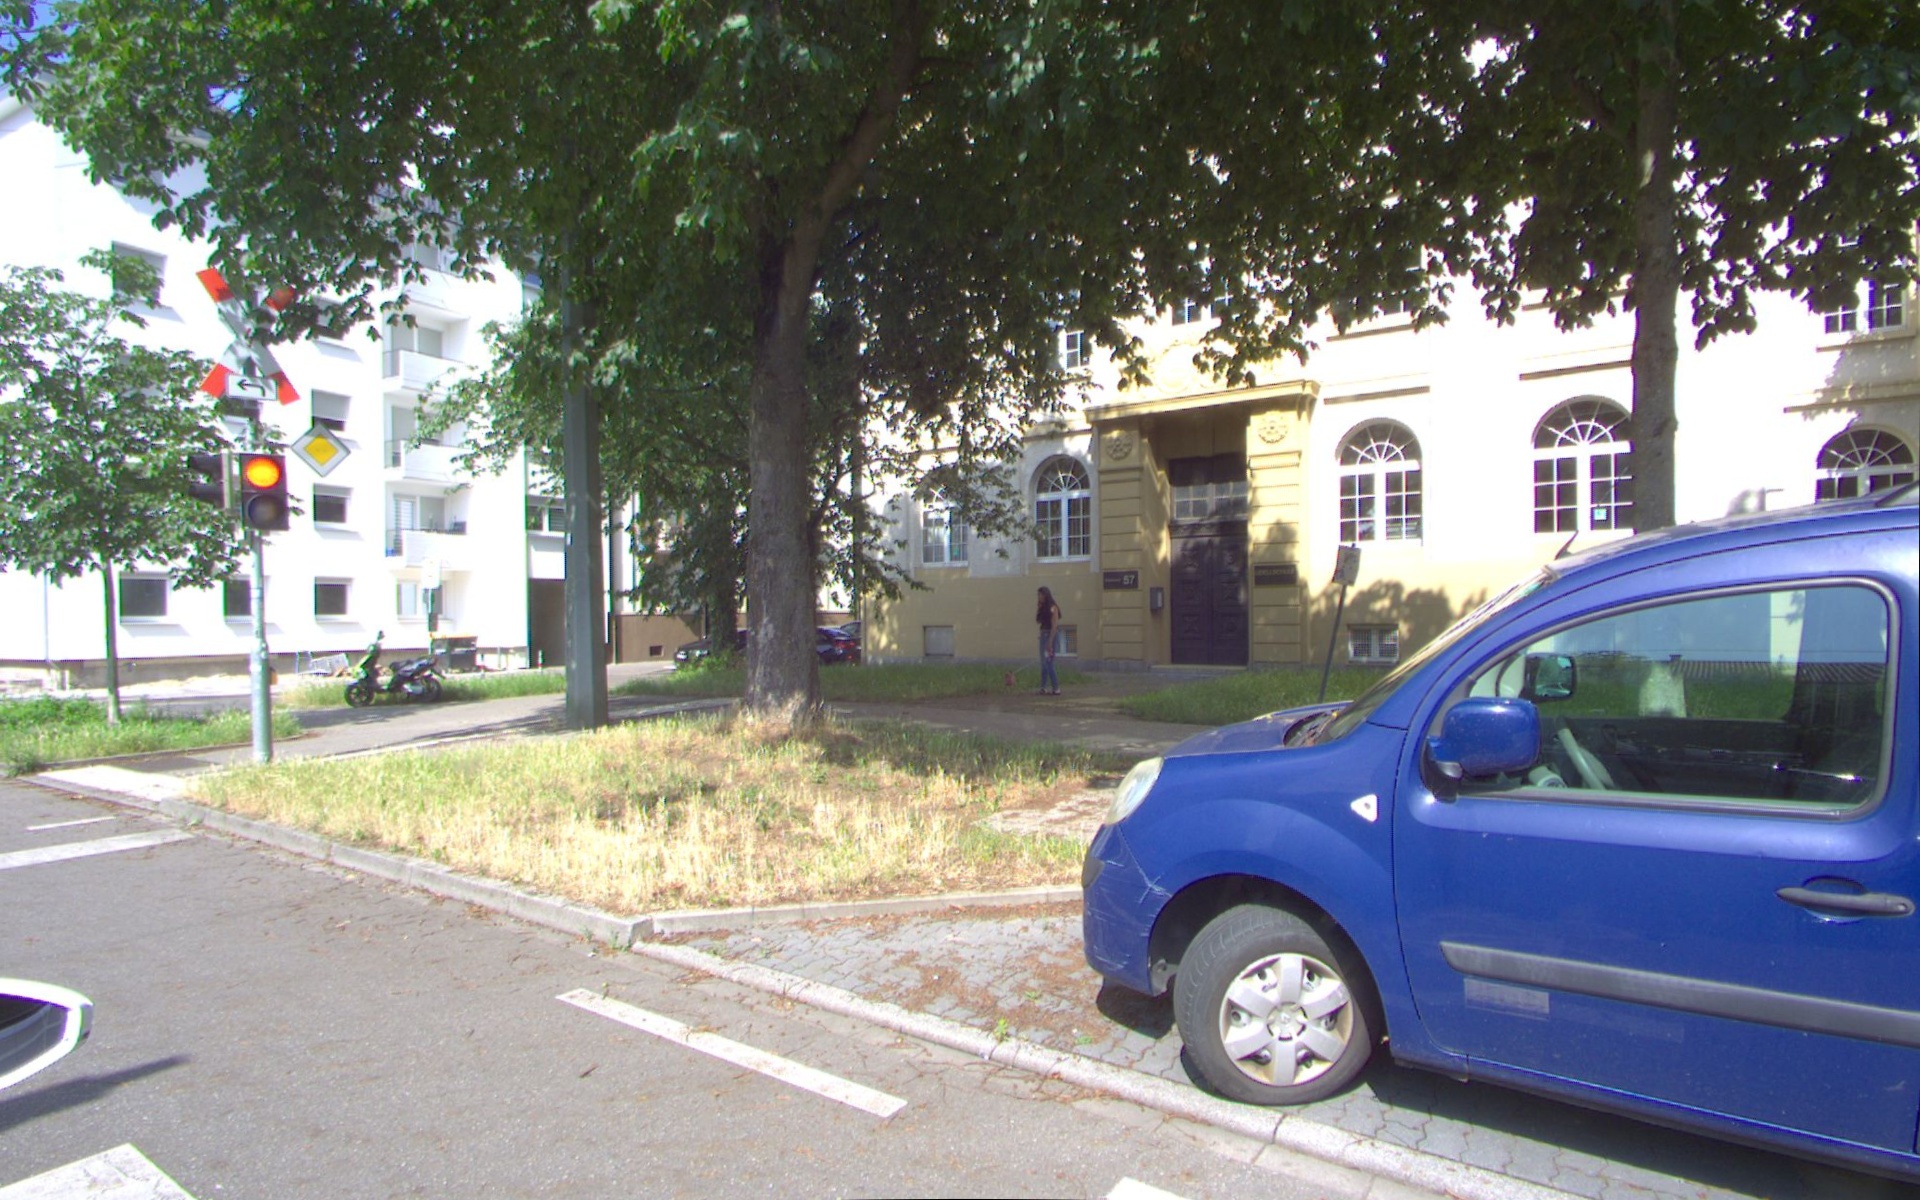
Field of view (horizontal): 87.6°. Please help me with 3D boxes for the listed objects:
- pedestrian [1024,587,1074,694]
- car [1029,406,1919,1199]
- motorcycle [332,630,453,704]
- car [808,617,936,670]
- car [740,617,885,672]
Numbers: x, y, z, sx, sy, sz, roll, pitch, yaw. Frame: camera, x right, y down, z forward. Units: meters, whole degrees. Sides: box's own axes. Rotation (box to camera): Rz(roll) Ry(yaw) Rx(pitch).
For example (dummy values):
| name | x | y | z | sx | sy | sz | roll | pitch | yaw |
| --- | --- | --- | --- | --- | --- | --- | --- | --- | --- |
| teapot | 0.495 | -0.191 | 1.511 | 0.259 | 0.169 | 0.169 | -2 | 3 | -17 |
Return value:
| name | x | y | z | sx | sy | sz | roll | pitch | yaw |
| --- | --- | --- | --- | --- | --- | --- | --- | --- | --- |
| pedestrian | 1.390 | 0.618 | 15.545 | 0.532 | 1.617 | 0.630 | -1 | 0 | 31 |
| car | 2.425 | 0.554 | 2.838 | 4.128 | 1.921 | 1.816 | 0 | 1 | 36 |
| motorcycle | -10.380 | 1.221 | 18.358 | 1.811 | 1.233 | 0.571 | -2 | 4 | 0 |
| car | -2.808 | 1.311 | 31.333 | 3.955 | 1.560 | 1.797 | -1 | -1 | 42 |
| car | -4.284 | 1.242 | 28.939 | 3.942 | 1.478 | 1.736 | -1 | 0 | 32 |
